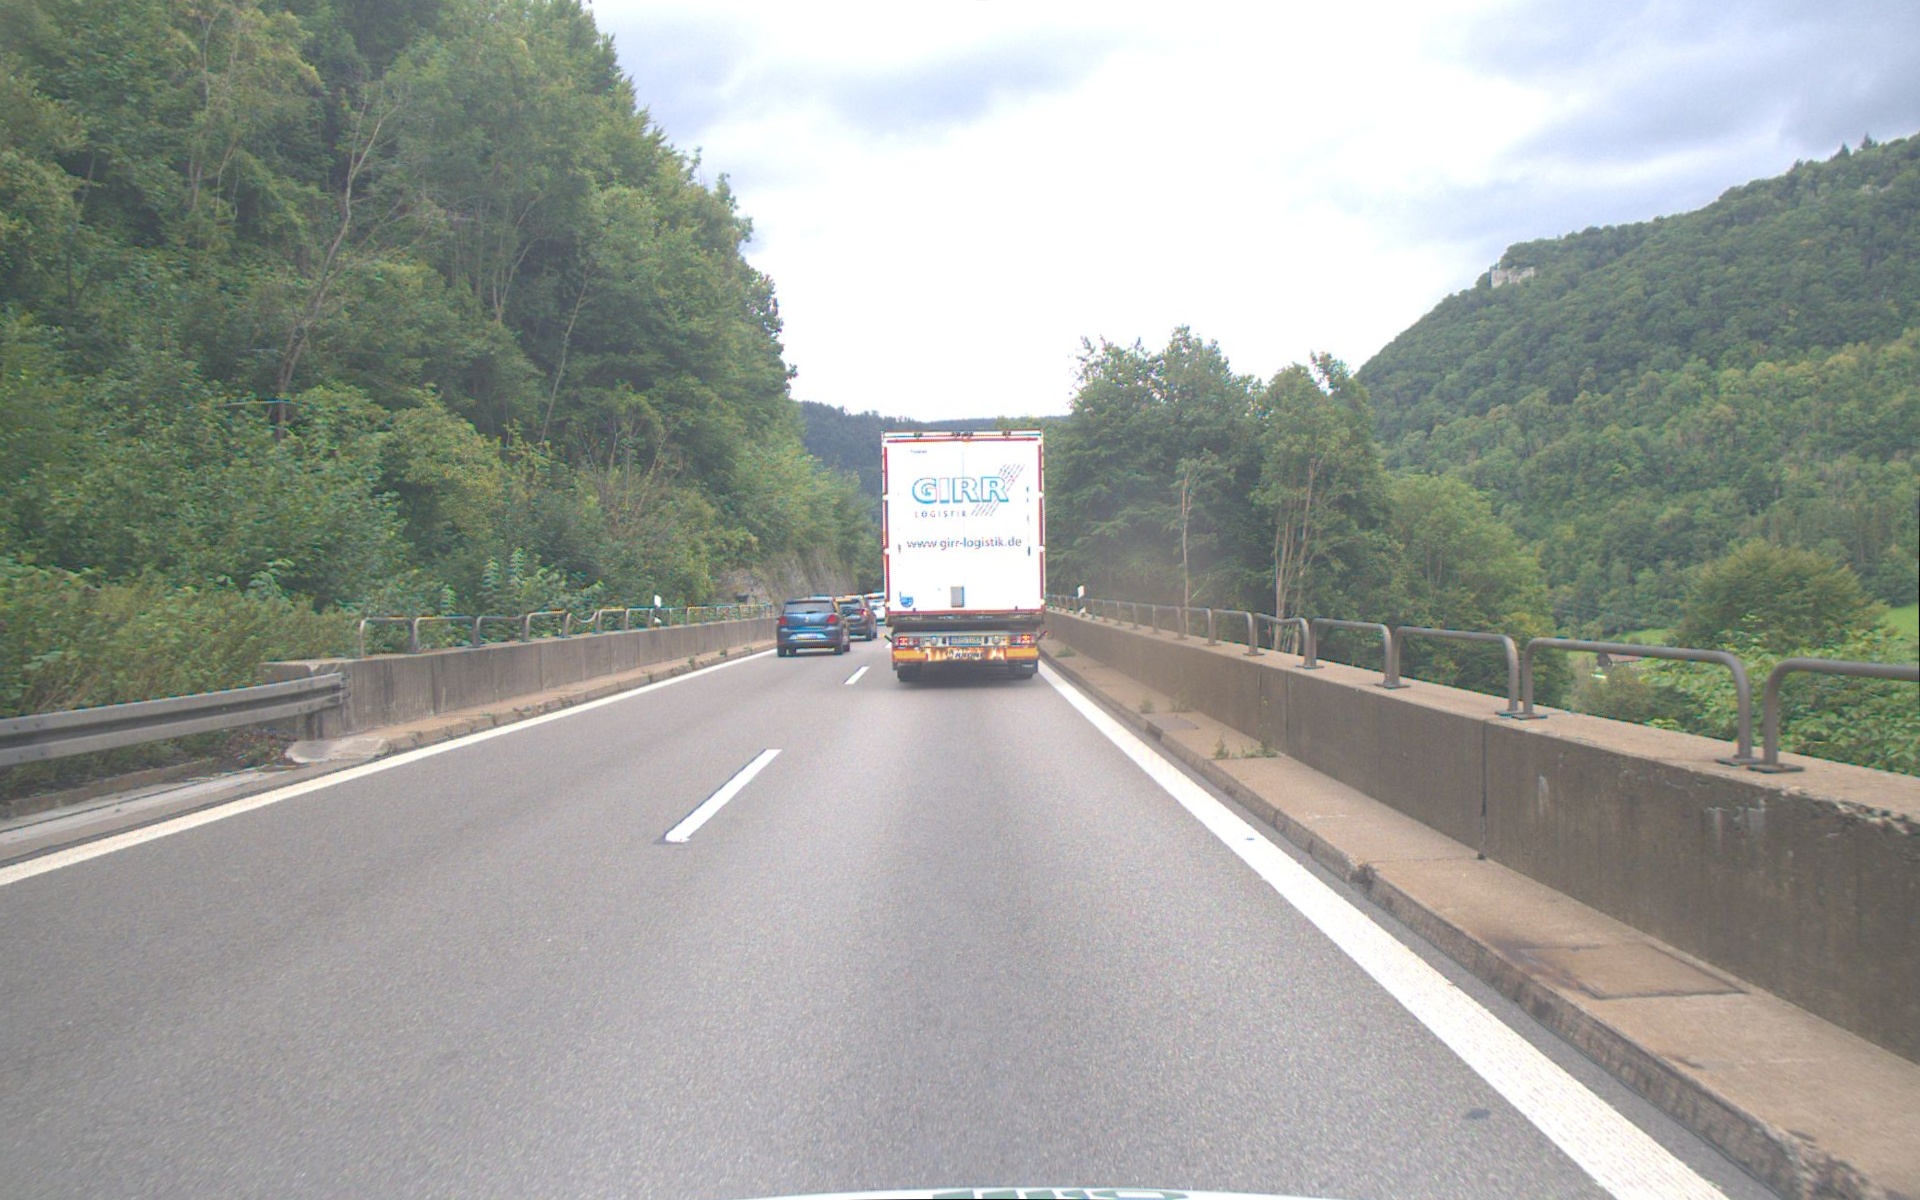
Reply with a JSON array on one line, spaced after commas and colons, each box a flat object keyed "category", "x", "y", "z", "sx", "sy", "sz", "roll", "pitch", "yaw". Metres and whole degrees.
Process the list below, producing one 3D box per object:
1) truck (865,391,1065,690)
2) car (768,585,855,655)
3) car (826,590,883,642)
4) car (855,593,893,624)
[{"category": "truck", "x": 0.034, "y": -0.977, "z": 32.851, "sx": 3.021, "sy": 4.542, "sz": 15.154, "roll": 0, "pitch": 0, "yaw": 0}, {"category": "car", "x": -3.757, "y": 0.475, "z": 42.520, "sx": 1.953, "sy": 1.623, "sz": 4.353, "roll": 0, "pitch": 1, "yaw": -2}, {"category": "car", "x": -3.413, "y": 0.500, "z": 54.222, "sx": 1.710, "sy": 1.614, "sz": 3.999, "roll": 0, "pitch": 0, "yaw": -1}, {"category": "car", "x": -4.272, "y": 0.445, "z": 82.596, "sx": 1.710, "sy": 1.512, "sz": 3.999, "roll": 0, "pitch": -1, "yaw": -1}]
